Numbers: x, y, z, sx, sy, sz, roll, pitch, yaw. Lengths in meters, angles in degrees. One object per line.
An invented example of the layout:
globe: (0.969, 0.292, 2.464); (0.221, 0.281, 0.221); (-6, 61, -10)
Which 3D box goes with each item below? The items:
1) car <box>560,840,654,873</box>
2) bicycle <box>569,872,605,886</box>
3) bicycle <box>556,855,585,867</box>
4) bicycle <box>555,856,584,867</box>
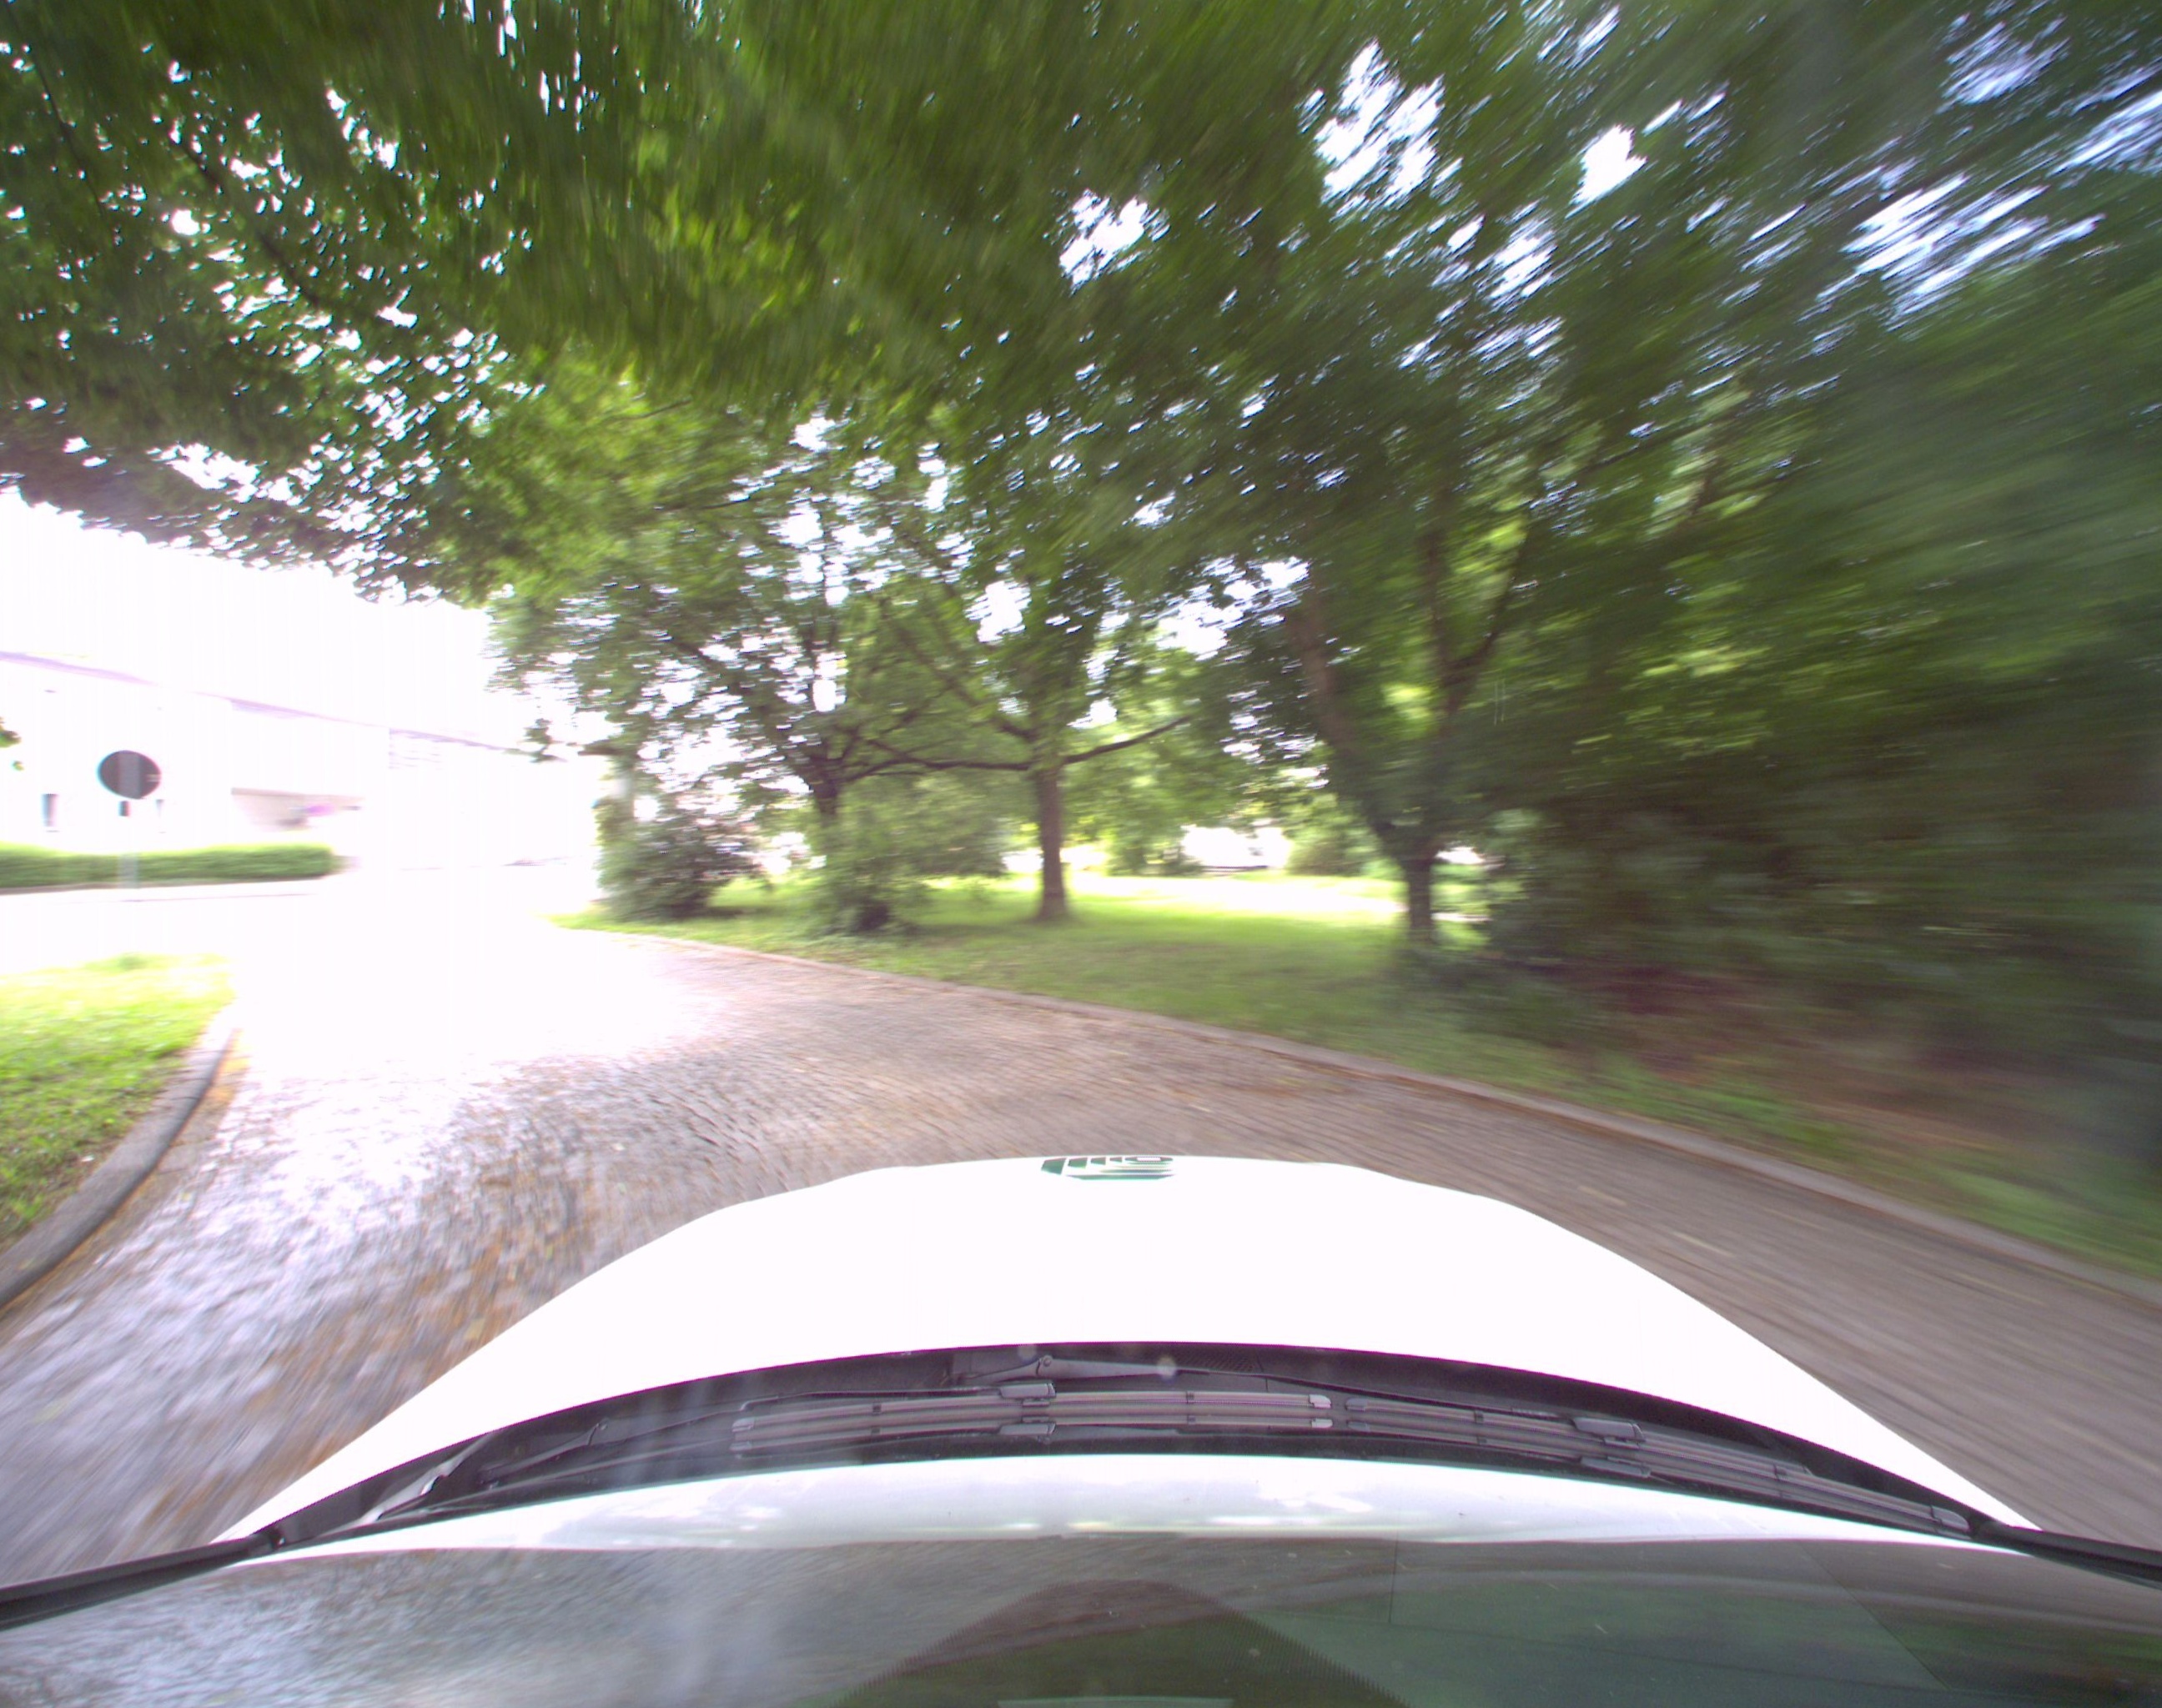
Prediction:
car: (-29.465, 0.144, 50.732); (4.631, 2.014, 1.994); (0, -1, -10)
bicycle: (-28.116, 1.407, 46.354); (1.669, 0.757, 0.568); (1, 0, -10)
bicycle: (-35.843, 0.488, 57.162); (1.680, 0.757, 0.565); (1, 0, -30)
bicycle: (-35.407, 0.509, 56.395); (1.680, 0.757, 0.565); (1, 0, -30)
